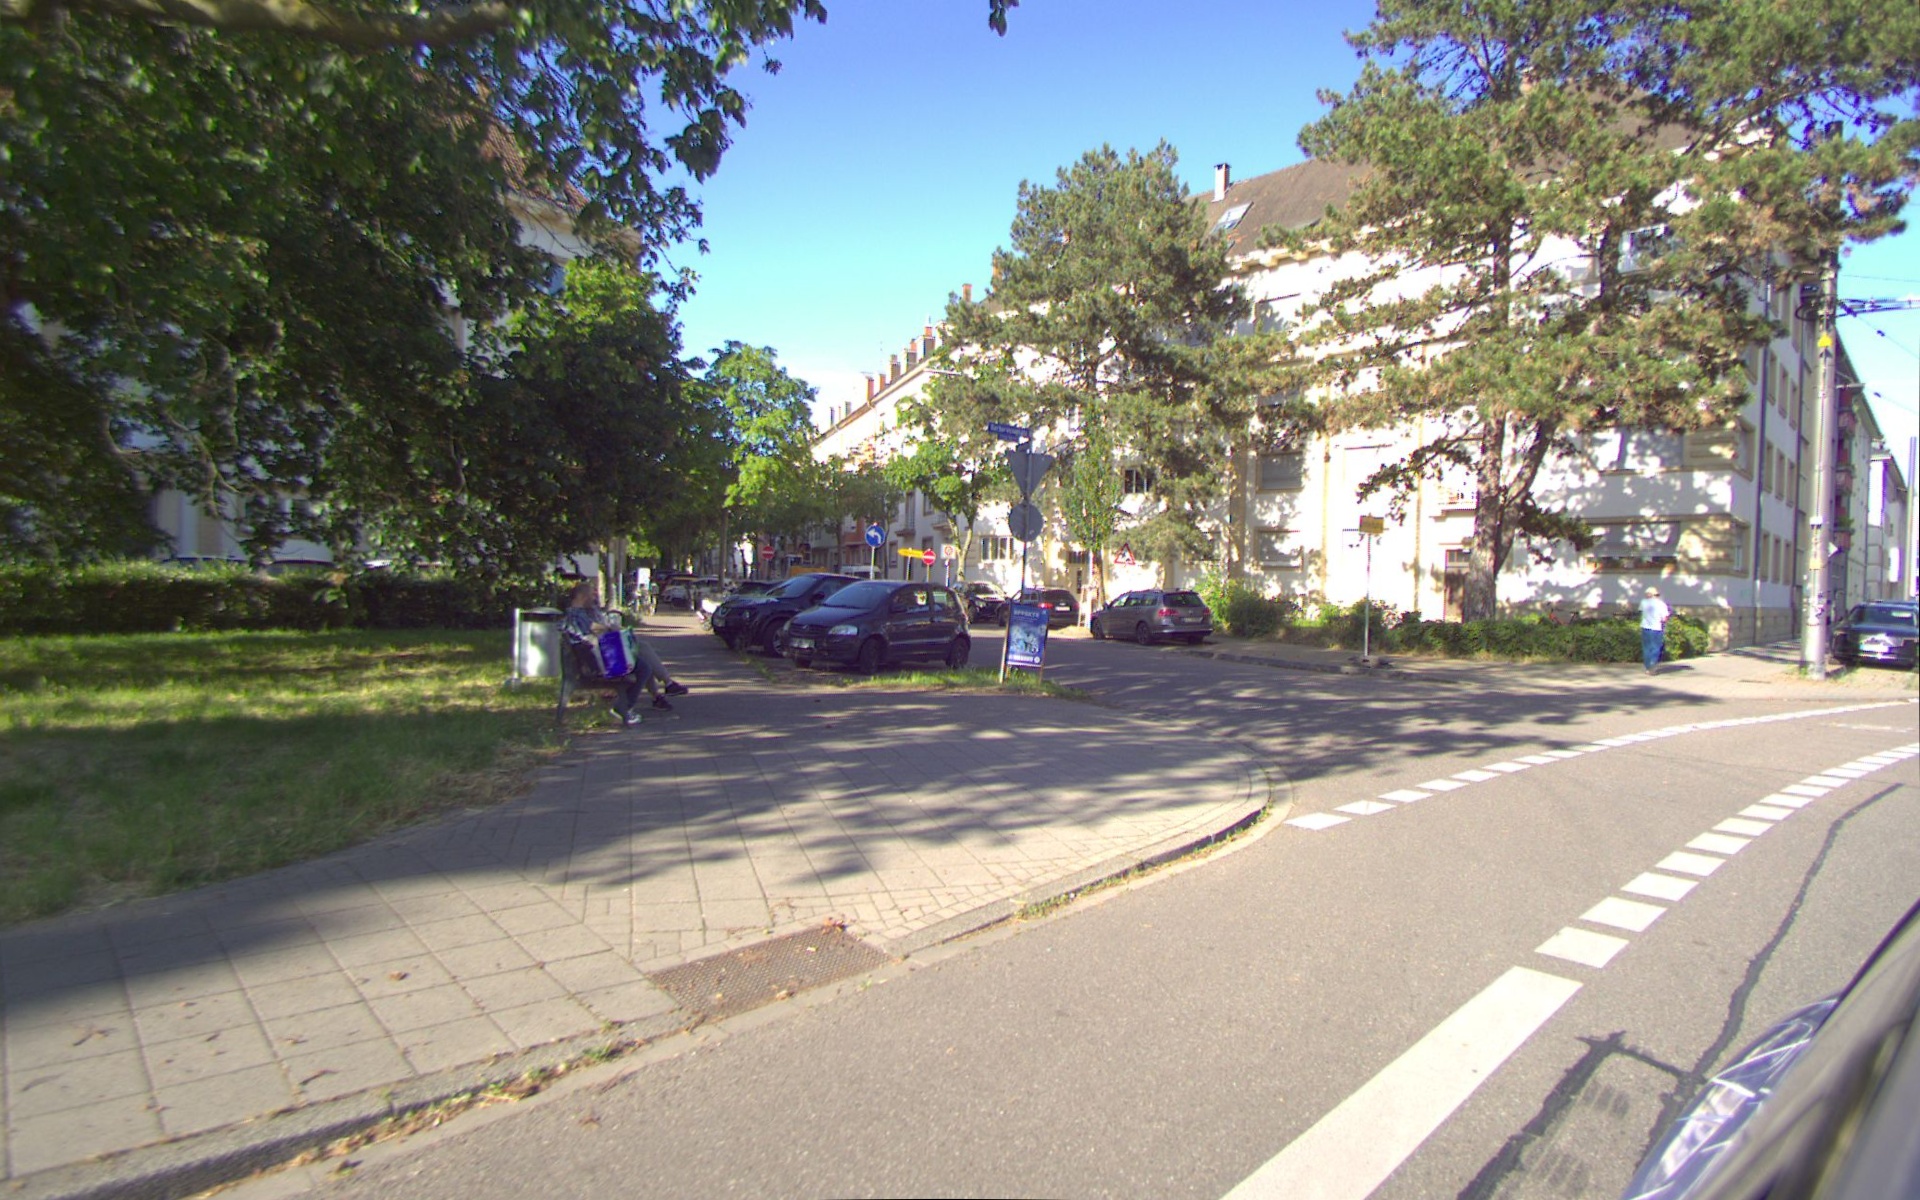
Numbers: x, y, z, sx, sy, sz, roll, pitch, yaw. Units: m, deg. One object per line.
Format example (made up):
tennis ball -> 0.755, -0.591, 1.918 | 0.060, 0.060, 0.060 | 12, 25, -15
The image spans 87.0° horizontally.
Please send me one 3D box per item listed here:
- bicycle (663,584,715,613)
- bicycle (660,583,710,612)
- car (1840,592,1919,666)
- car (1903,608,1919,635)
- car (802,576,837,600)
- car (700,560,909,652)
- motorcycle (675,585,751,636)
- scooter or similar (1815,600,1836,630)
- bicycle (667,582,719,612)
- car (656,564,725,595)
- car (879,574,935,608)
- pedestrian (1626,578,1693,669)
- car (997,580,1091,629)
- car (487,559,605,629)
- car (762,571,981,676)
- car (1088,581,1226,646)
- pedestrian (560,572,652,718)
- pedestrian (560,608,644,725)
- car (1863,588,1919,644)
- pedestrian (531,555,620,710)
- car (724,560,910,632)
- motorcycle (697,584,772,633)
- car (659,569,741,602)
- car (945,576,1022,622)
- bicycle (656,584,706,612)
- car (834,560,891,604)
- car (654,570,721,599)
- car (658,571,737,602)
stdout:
bicycle -> -11.426, -0.075, 42.662 | 2.020, 1.204, 0.598 | 0, -1, -28
bicycle -> -11.771, -0.093, 43.331 | 2.020, 1.204, 0.598 | 0, -1, -28
car -> 25.521, 0.749, 27.507 | 4.851, 1.737, 1.882 | 0, 4, -44
car -> 49.642, 1.124, 51.868 | 1.704, 1.290, 4.234 | 7, 5, 44
car -> -10.423, -0.862, 74.909 | 1.762, 1.632, 4.007 | 0, -1, -21
car -> -2.920, 0.106, 19.411 | 3.741, 1.592, 1.455 | 1, 2, -41
motorcycle -> -6.003, 0.240, 24.583 | 1.769, 1.085, 0.706 | 5, 1, 30
scooter or similar -> 37.798, 0.642, 44.184 | 1.316, 1.253, 0.459 | 1, 4, -44
bicycle -> -11.050, -0.107, 41.907 | 2.020, 1.204, 0.598 | 0, -1, -28
car -> -16.130, -1.194, 60.472 | 3.916, 1.728, 2.004 | 0, -1, -17
car -> -2.807, -0.434, 52.873 | 1.762, 1.632, 4.007 | 0, -1, -21
pedestrian -> 13.952, 0.454, 20.186 | 0.711, 1.743, 0.883 | 2, 1, -38
car -> 2.876, 0.128, 35.425 | 1.732, 1.487, 3.922 | 2, 2, -20
car -> -10.059, -0.178, 24.474 | 1.549, 1.387, 3.354 | 1, 5, -42
car -> -1.368, 0.332, 16.950 | 1.630, 1.513, 3.762 | 3, 2, 34
car -> 5.302, 0.295, 27.852 | 1.733, 1.519, 4.315 | -2, 3, -20
pedestrian -> -3.108, 0.388, 8.920 | 0.745, 1.242, 0.405 | 0, -1, -17
pedestrian -> -2.984, 0.548, 8.473 | 0.610, 0.946, 0.405 | 2, -2, -17
car -> 36.114, 0.586, 38.724 | 5.052, 1.922, 1.915 | 0, 4, -45
pedestrian -> -3.612, 0.295, 9.553 | 0.739, 1.391, 0.688 | 0, -1, -17
car -> -3.167, -0.097, 23.147 | 1.634, 1.458, 4.179 | 3, 2, 40
motorcycle -> -5.633, 0.204, 25.230 | 1.769, 1.085, 0.706 | 5, 1, 30
car -> -13.162, -0.711, 51.111 | 3.916, 1.572, 1.821 | 0, -1, -17
car -> 0.900, -0.042, 40.758 | 1.732, 1.733, 3.920 | 2, 0, -20
bicycle -> -12.087, -0.088, 43.928 | 2.020, 1.204, 0.598 | 0, -1, -28
car -> -6.025, -1.037, 61.988 | 2.081, 2.474, 5.328 | 0, -1, -21
car -> -16.940, -0.953, 62.797 | 3.916, 1.728, 2.004 | 0, -1, -17
car -> -13.786, -0.675, 53.150 | 3.916, 1.572, 1.821 | 0, -1, -17
